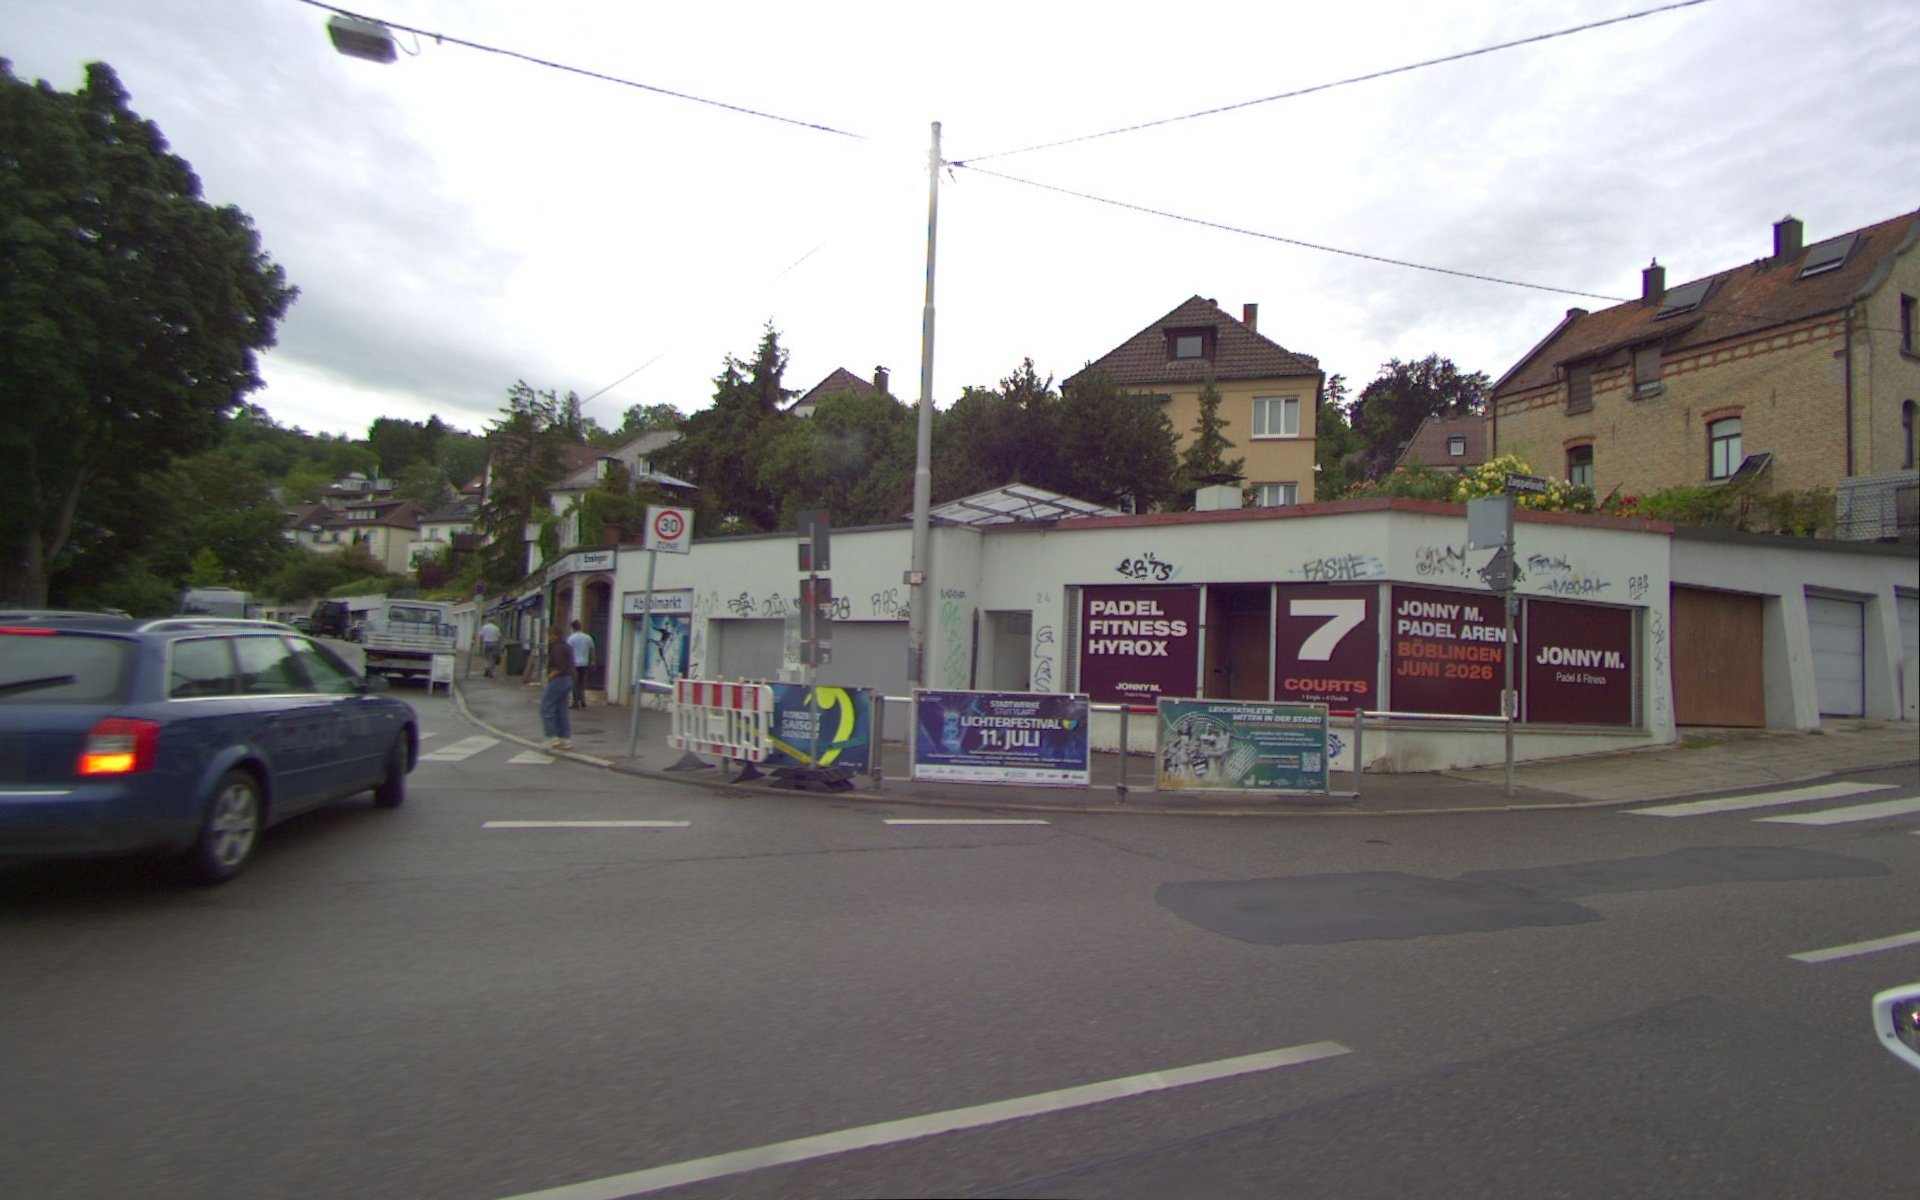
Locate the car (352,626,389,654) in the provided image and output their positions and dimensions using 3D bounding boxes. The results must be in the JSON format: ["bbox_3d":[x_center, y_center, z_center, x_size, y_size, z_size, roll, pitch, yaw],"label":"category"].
[{"bbox_3d":[-37.040,2.485,63.104,1.977,1.661,3.967,1,-1,-31],"label":"car"}]

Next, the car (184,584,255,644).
[{"bbox_3d":[-28.419,0.556,38.680,1.818,2.151,4.996,1,-1,-33],"label":"car"}]

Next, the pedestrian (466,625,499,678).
[{"bbox_3d":[-14.435,1.541,30.367,0.879,1.525,0.972,1,1,-27],"label":"pedestrian"}]

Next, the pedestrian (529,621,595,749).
[{"bbox_3d":[-5.467,1.156,13.813,0.572,1.711,0.627,-1,-3,11],"label":"pedestrian"}]

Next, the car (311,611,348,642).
[{"bbox_3d":[-50.708,2.092,80.751,1.984,2.463,3.953,1,-1,-41],"label":"car"}]

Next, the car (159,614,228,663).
[{"bbox_3d":[-25.712,1.241,33.786,1.525,1.548,3.648,1,-1,-33],"label":"car"}]

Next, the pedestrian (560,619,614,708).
[{"bbox_3d":[-7.891,1.318,21.238,0.695,1.830,0.805,1,-1,39],"label":"pedestrian"}]

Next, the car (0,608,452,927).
[{"bbox_3d":[-5.011,0.814,6.576,1.784,1.458,4.076,2,-2,-9],"label":"car"}]

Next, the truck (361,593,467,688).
[{"bbox_3d":[-15.177,1.038,27.962,2.286,2.299,6.758,1,-1,-29],"label":"truck"}]

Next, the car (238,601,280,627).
[{"bbox_3d":[-44.281,0.882,63.515,1.717,1.606,3.969,1,-1,-29],"label":"car"}]
